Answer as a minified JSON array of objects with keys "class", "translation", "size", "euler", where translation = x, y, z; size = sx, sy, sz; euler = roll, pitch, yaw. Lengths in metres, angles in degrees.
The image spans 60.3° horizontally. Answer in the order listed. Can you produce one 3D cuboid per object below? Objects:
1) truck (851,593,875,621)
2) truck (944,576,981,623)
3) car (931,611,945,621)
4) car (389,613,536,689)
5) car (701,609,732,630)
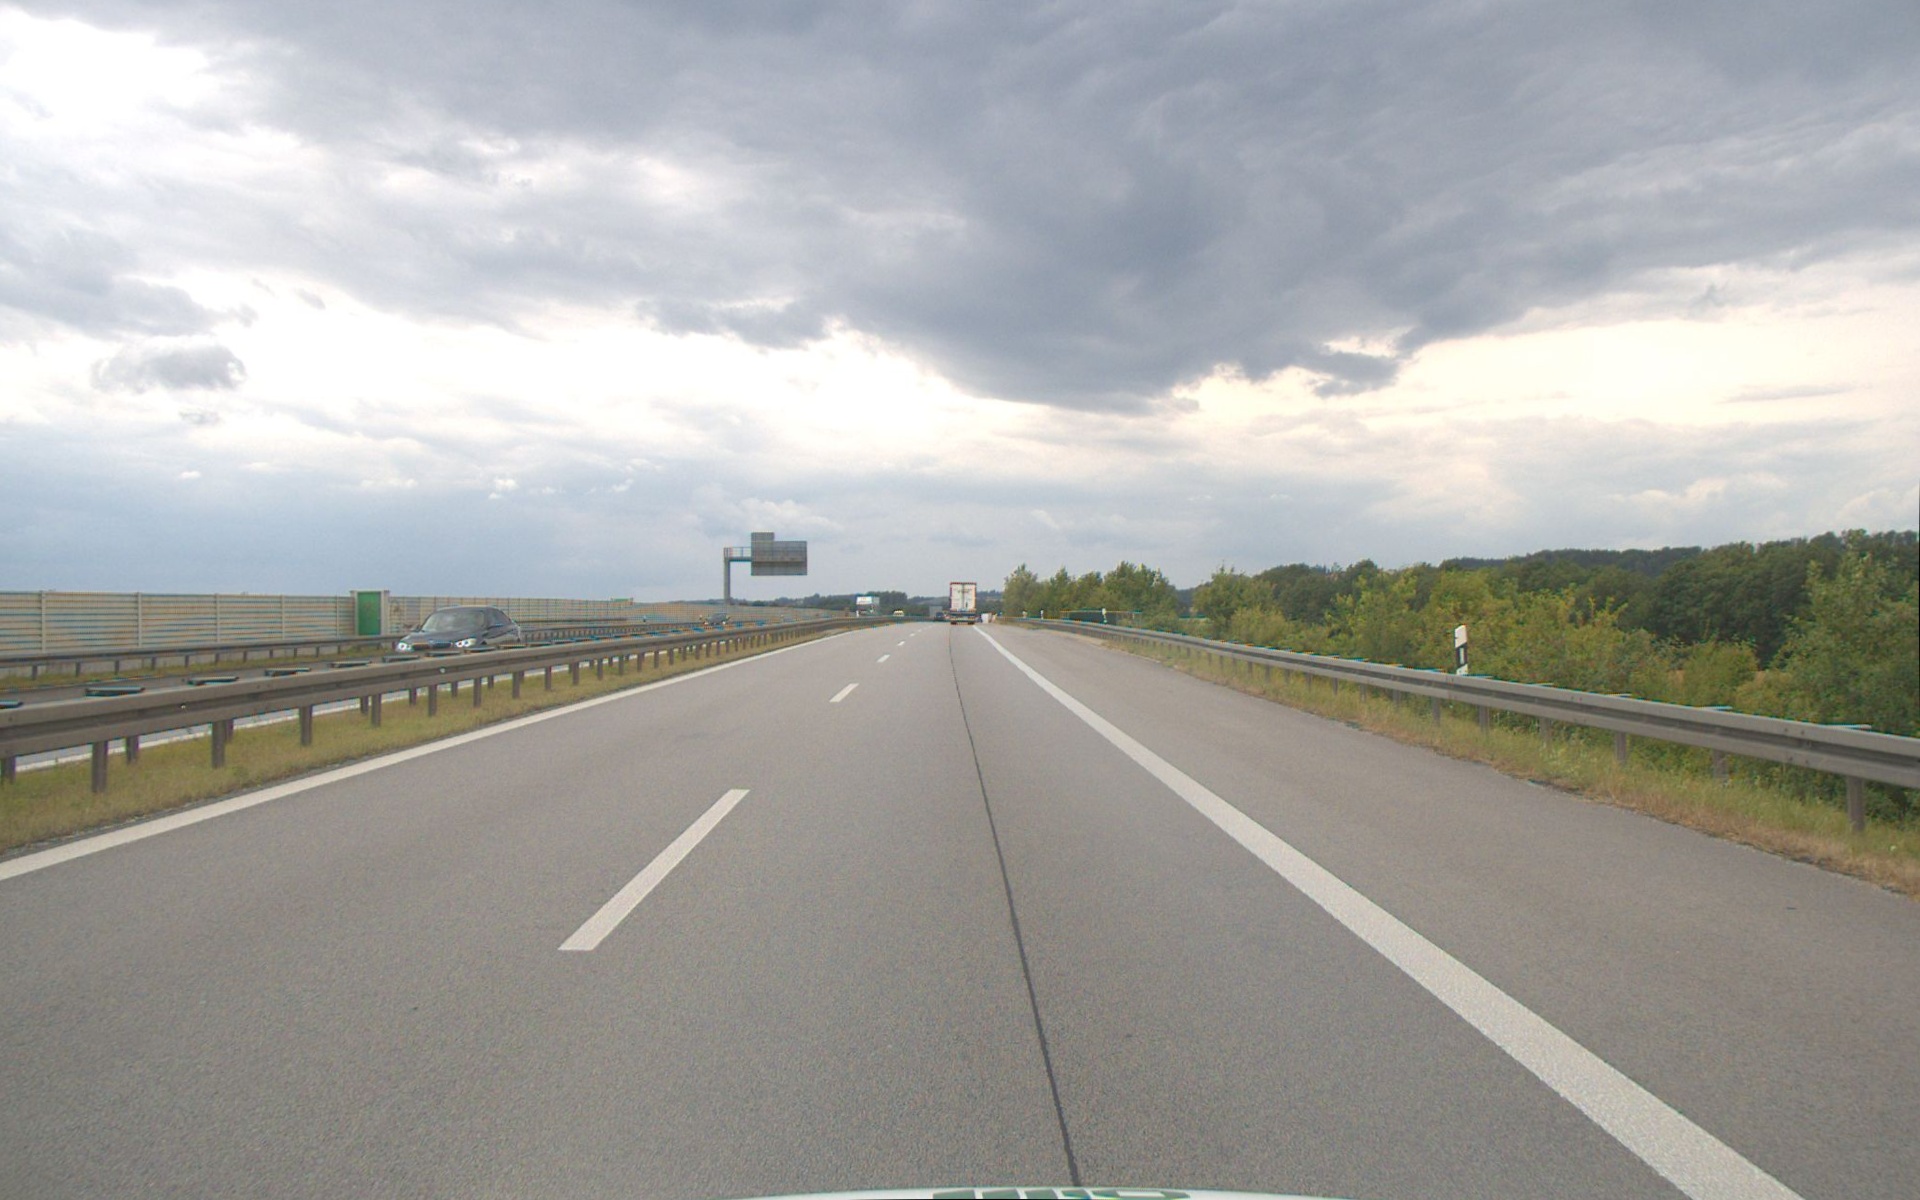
[{"class":"truck","translation":[-14.752,1.091,251.182],"size":[3.046,4.084,7.323],"euler":[-2,-1,0]},{"class":"truck","translation":[0.280,0.077,169.060],"size":[3.597,4.490,16.339],"euler":[-1,-1,0]},{"class":"car","translation":[-3.347,2.387,250.116],"size":[1.954,1.445,3.998],"euler":[1,0,-3]},{"class":"car","translation":[-10.905,1.071,36.640],"size":[1.751,1.476,5.172],"euler":[0,0,-1]},{"class":"car","translation":[-18.578,1.445,126.429],"size":[1.669,1.521,4.565],"euler":[-2,0,-1]}]
